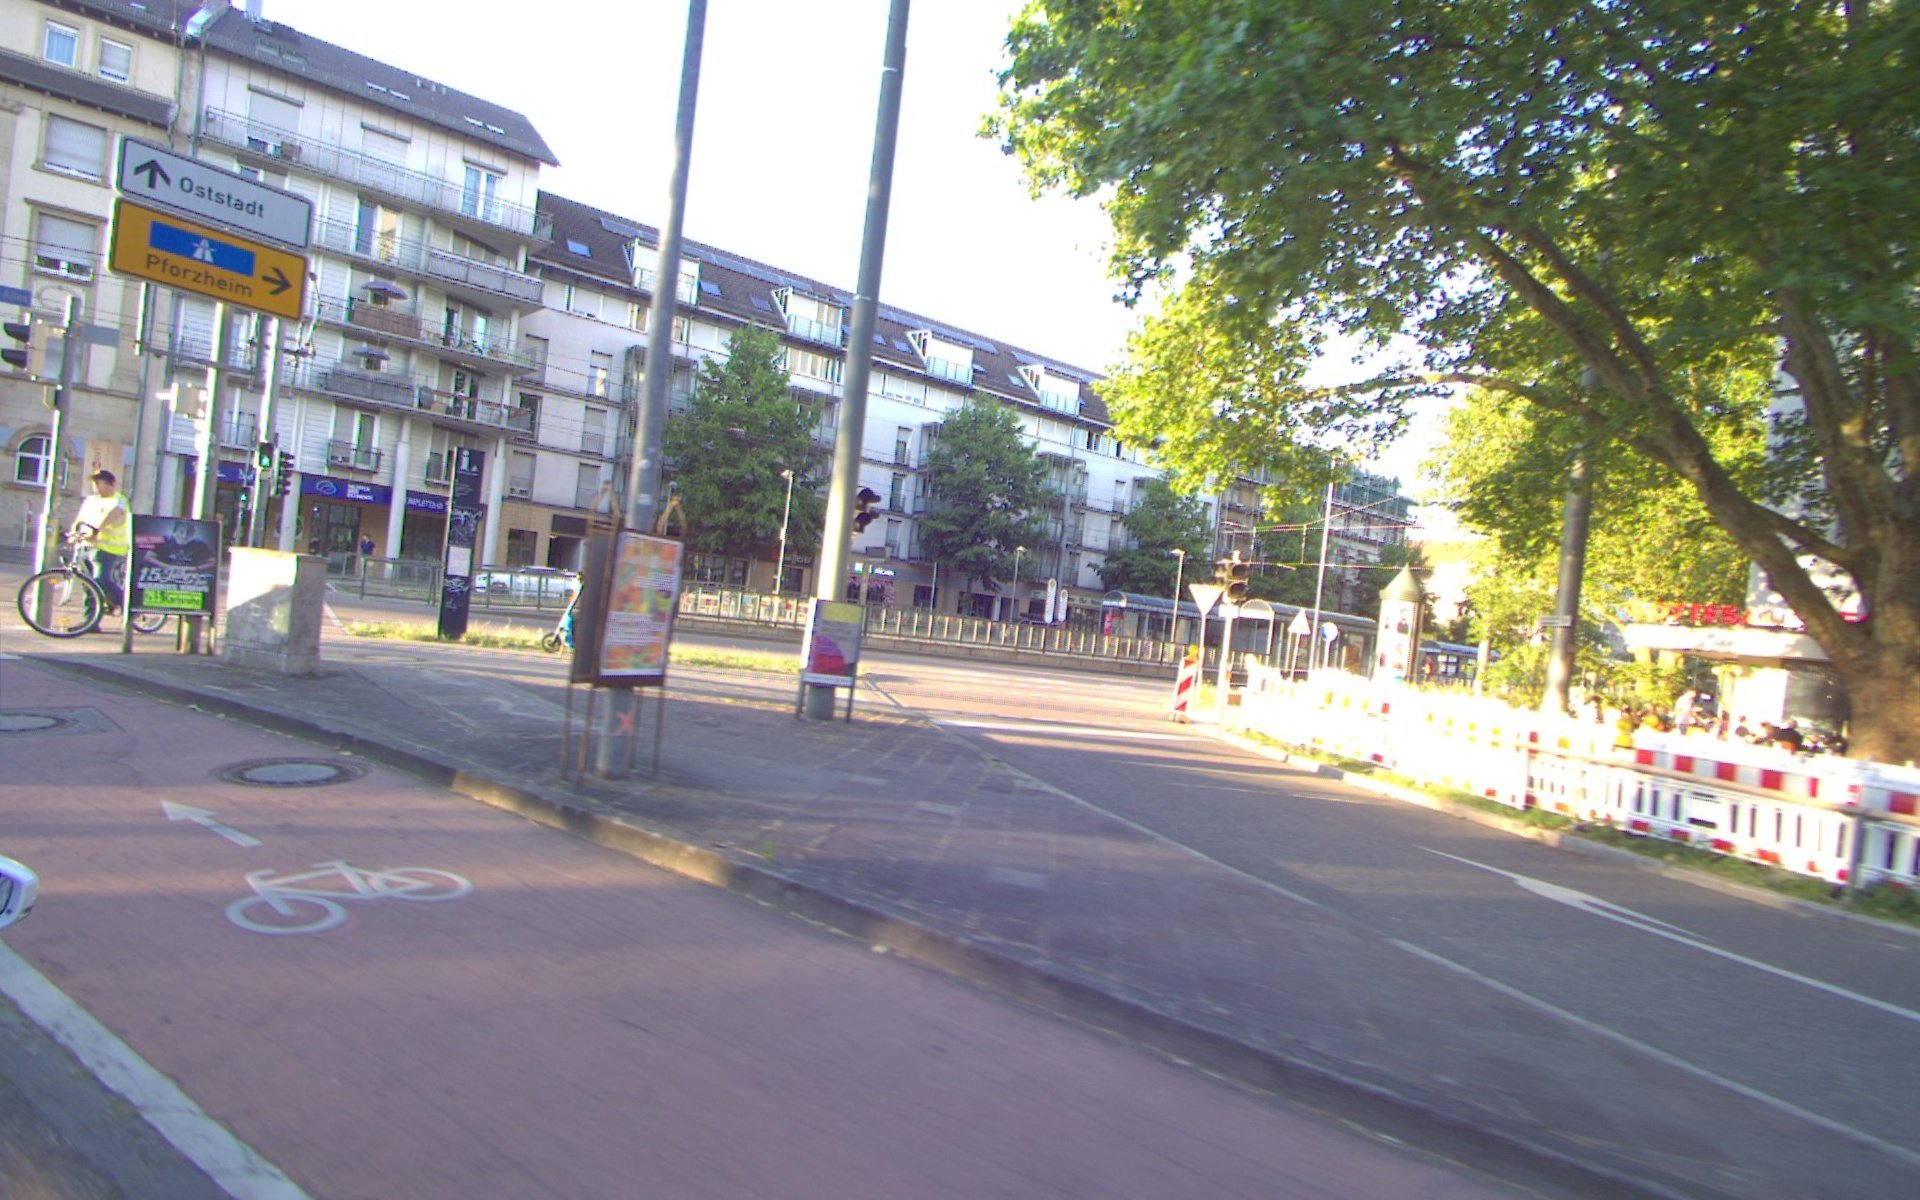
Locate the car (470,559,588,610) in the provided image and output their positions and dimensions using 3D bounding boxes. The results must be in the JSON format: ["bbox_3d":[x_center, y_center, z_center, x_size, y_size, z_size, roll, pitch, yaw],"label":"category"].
[{"bbox_3d":[-17.267,-0.604,40.346,3.963,1.503,1.833,8,-2,-34],"label":"car"}]

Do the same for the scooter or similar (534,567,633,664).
[{"bbox_3d":[-5.526,0.238,14.823,1.217,1.264,0.513,7,-1,-19],"label":"scooter or similar"}]

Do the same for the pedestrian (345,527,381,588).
[{"bbox_3d":[-22.977,-1.632,38.724,0.864,2.235,0.812,7,-1,-39],"label":"pedestrian"}]

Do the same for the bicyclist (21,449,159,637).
[{"bbox_3d":[-9.083,-0.567,10.535,0.616,1.845,0.699,6,-1,0],"label":"bicyclist"}]

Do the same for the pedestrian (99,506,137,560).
[{"bbox_3d":[-29.651,-2.355,35.442,0.781,1.800,0.539,7,-1,-33],"label":"pedestrian"}]

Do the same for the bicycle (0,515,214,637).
[{"bbox_3d":[-9.131,-0.200,10.774,0.616,1.122,2.073,6,-2,0],"label":"bicycle"}]

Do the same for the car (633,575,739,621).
[{"bbox_3d":[-11.999,-0.071,44.164,3.969,1.503,1.831,8,-2,-39],"label":"car"}]
